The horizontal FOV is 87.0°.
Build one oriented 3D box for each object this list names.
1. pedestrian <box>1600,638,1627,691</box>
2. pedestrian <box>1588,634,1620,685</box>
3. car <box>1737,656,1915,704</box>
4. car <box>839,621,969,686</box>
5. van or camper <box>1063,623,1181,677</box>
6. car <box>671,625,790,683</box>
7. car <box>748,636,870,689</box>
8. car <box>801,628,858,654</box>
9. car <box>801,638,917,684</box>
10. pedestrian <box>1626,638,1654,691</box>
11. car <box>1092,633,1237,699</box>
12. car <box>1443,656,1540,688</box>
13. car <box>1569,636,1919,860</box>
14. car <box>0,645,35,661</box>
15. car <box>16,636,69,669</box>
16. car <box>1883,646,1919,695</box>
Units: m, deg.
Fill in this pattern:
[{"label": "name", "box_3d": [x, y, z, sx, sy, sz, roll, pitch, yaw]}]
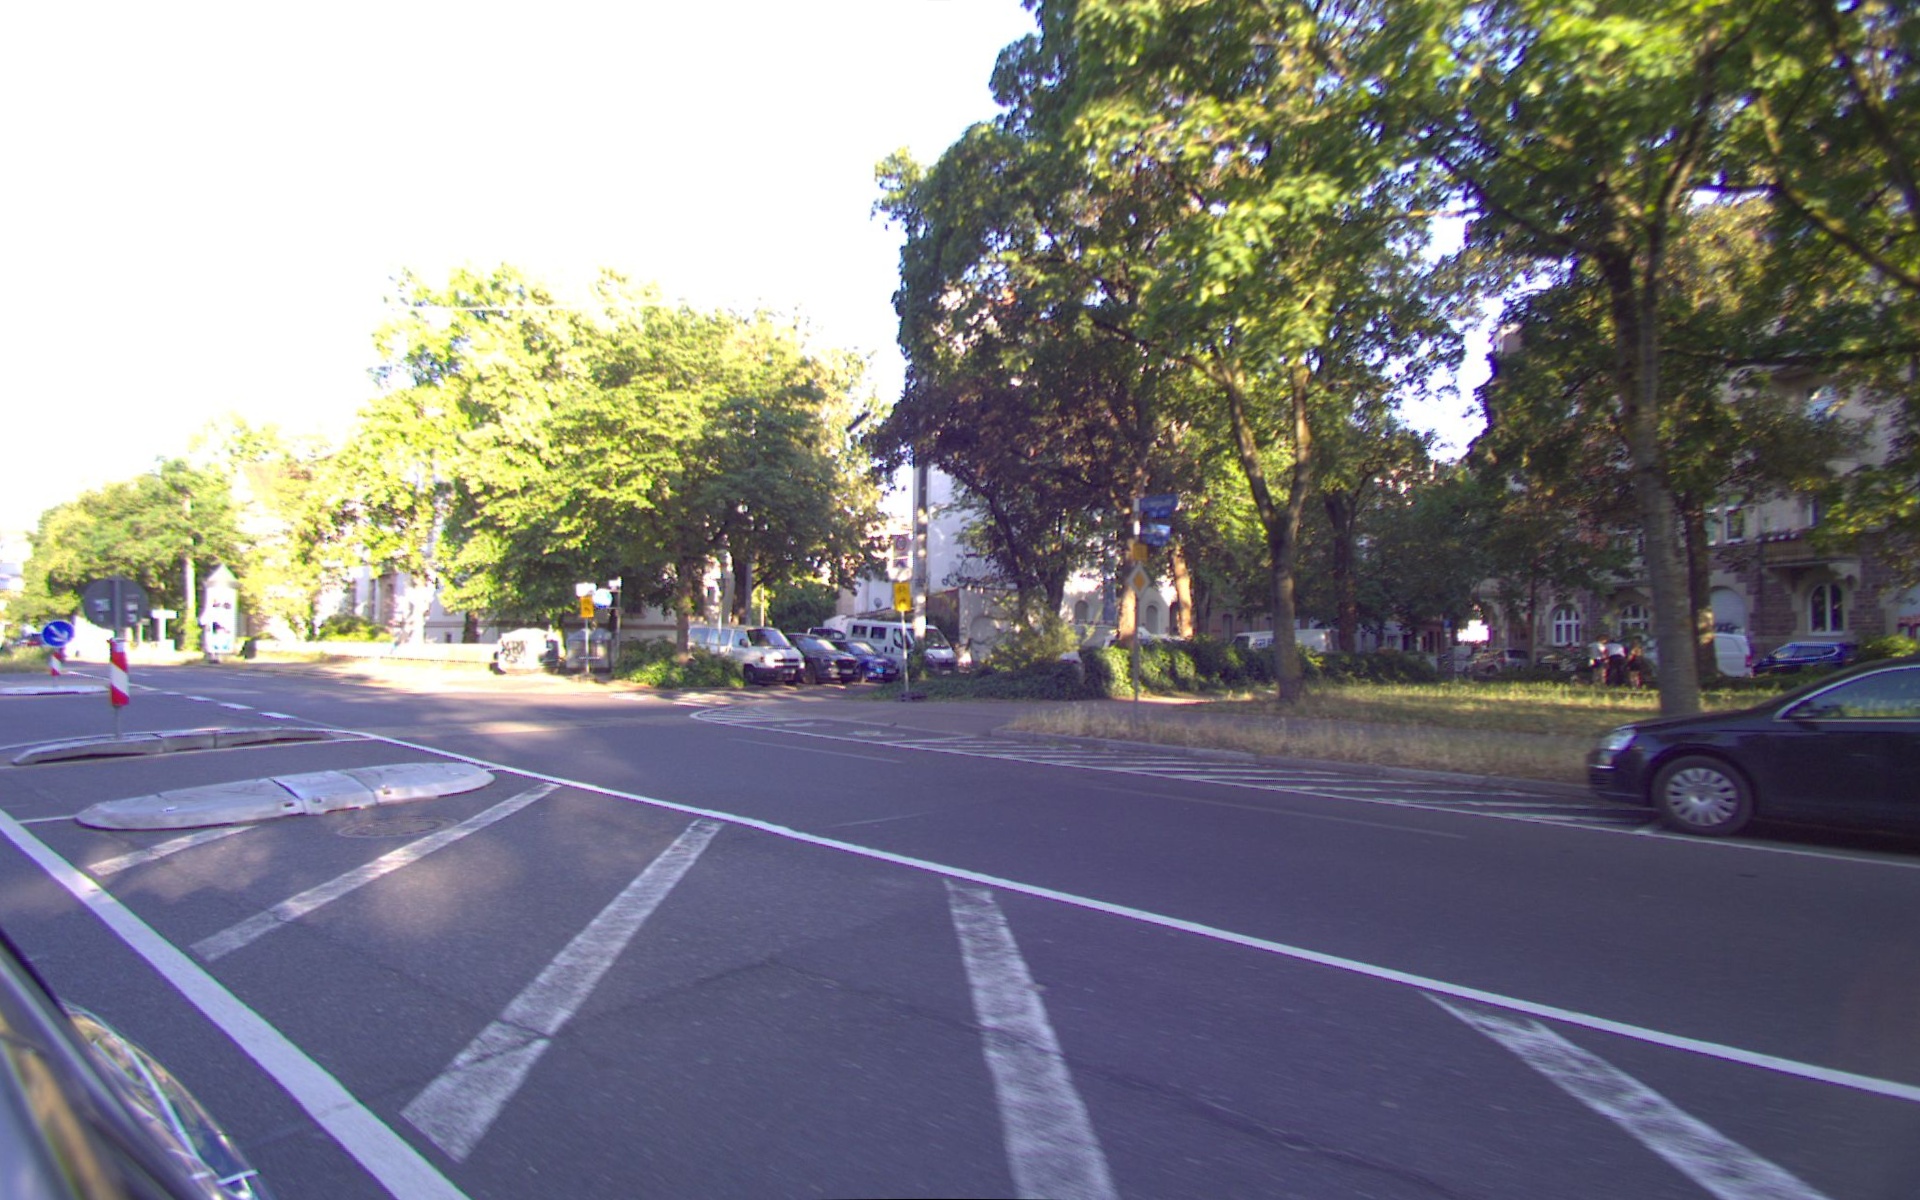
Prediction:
[{"label": "pedestrian", "box_3d": [17.605, 1.722, 27.253, 0.558, 1.406, 0.452, -2, -3, 36]}, {"label": "pedestrian", "box_3d": [18.046, 1.659, 28.347, 0.450, 1.406, 0.560, 1, -3, -17]}, {"label": "car", "box_3d": [27.935, 2.556, 32.835, 1.863, 1.409, 4.010, 1, -3, -13]}, {"label": "car", "box_3d": [-2.205, 1.988, 38.758, 2.189, 2.306, 5.102, 2, -3, -44]}, {"label": "van or camper", "box_3d": [7.847, 2.408, 49.305, 5.426, 2.490, 2.044, -2, -3, 42]}, {"label": "car", "box_3d": [-7.680, 1.763, 33.746, 3.996, 1.809, 1.800, -2, -2, 39]}, {"label": "car", "box_3d": [-5.197, 2.080, 34.596, 3.996, 1.674, 1.974, -2, -2, 39]}, {"label": "car", "box_3d": [-9.662, 3.052, 74.816, 4.047, 1.842, 1.966, 1, -2, -11]}, {"label": "car", "box_3d": [-3.692, 2.169, 36.712, 3.996, 1.551, 1.974, -2, -2, 39]}, {"label": "pedestrian", "box_3d": [18.143, 1.712, 27.004, 0.558, 1.406, 0.452, -2, -3, 36]}, {"label": "car", "box_3d": [6.362, 2.012, 31.697, 3.996, 1.896, 1.974, -2, -1, 39]}, {"label": "car", "box_3d": [25.107, 3.376, 47.940, 1.863, 1.409, 4.010, 1, -3, -13]}, {"label": "car", "box_3d": [7.206, 1.031, 7.332, 4.545, 1.518, 1.605, -2, -4, 44]}, {"label": "car", "box_3d": [-87.468, 4.917, 93.945, 4.003, 1.283, 1.756, -2, -7, 39]}, {"label": "car", "box_3d": [-51.187, 2.894, 56.415, 4.569, 1.719, 1.855, -2, -6, 45]}, {"label": "car", "box_3d": [28.888, 2.017, 28.399, 1.863, 1.409, 4.010, 1, -3, -13]}]
